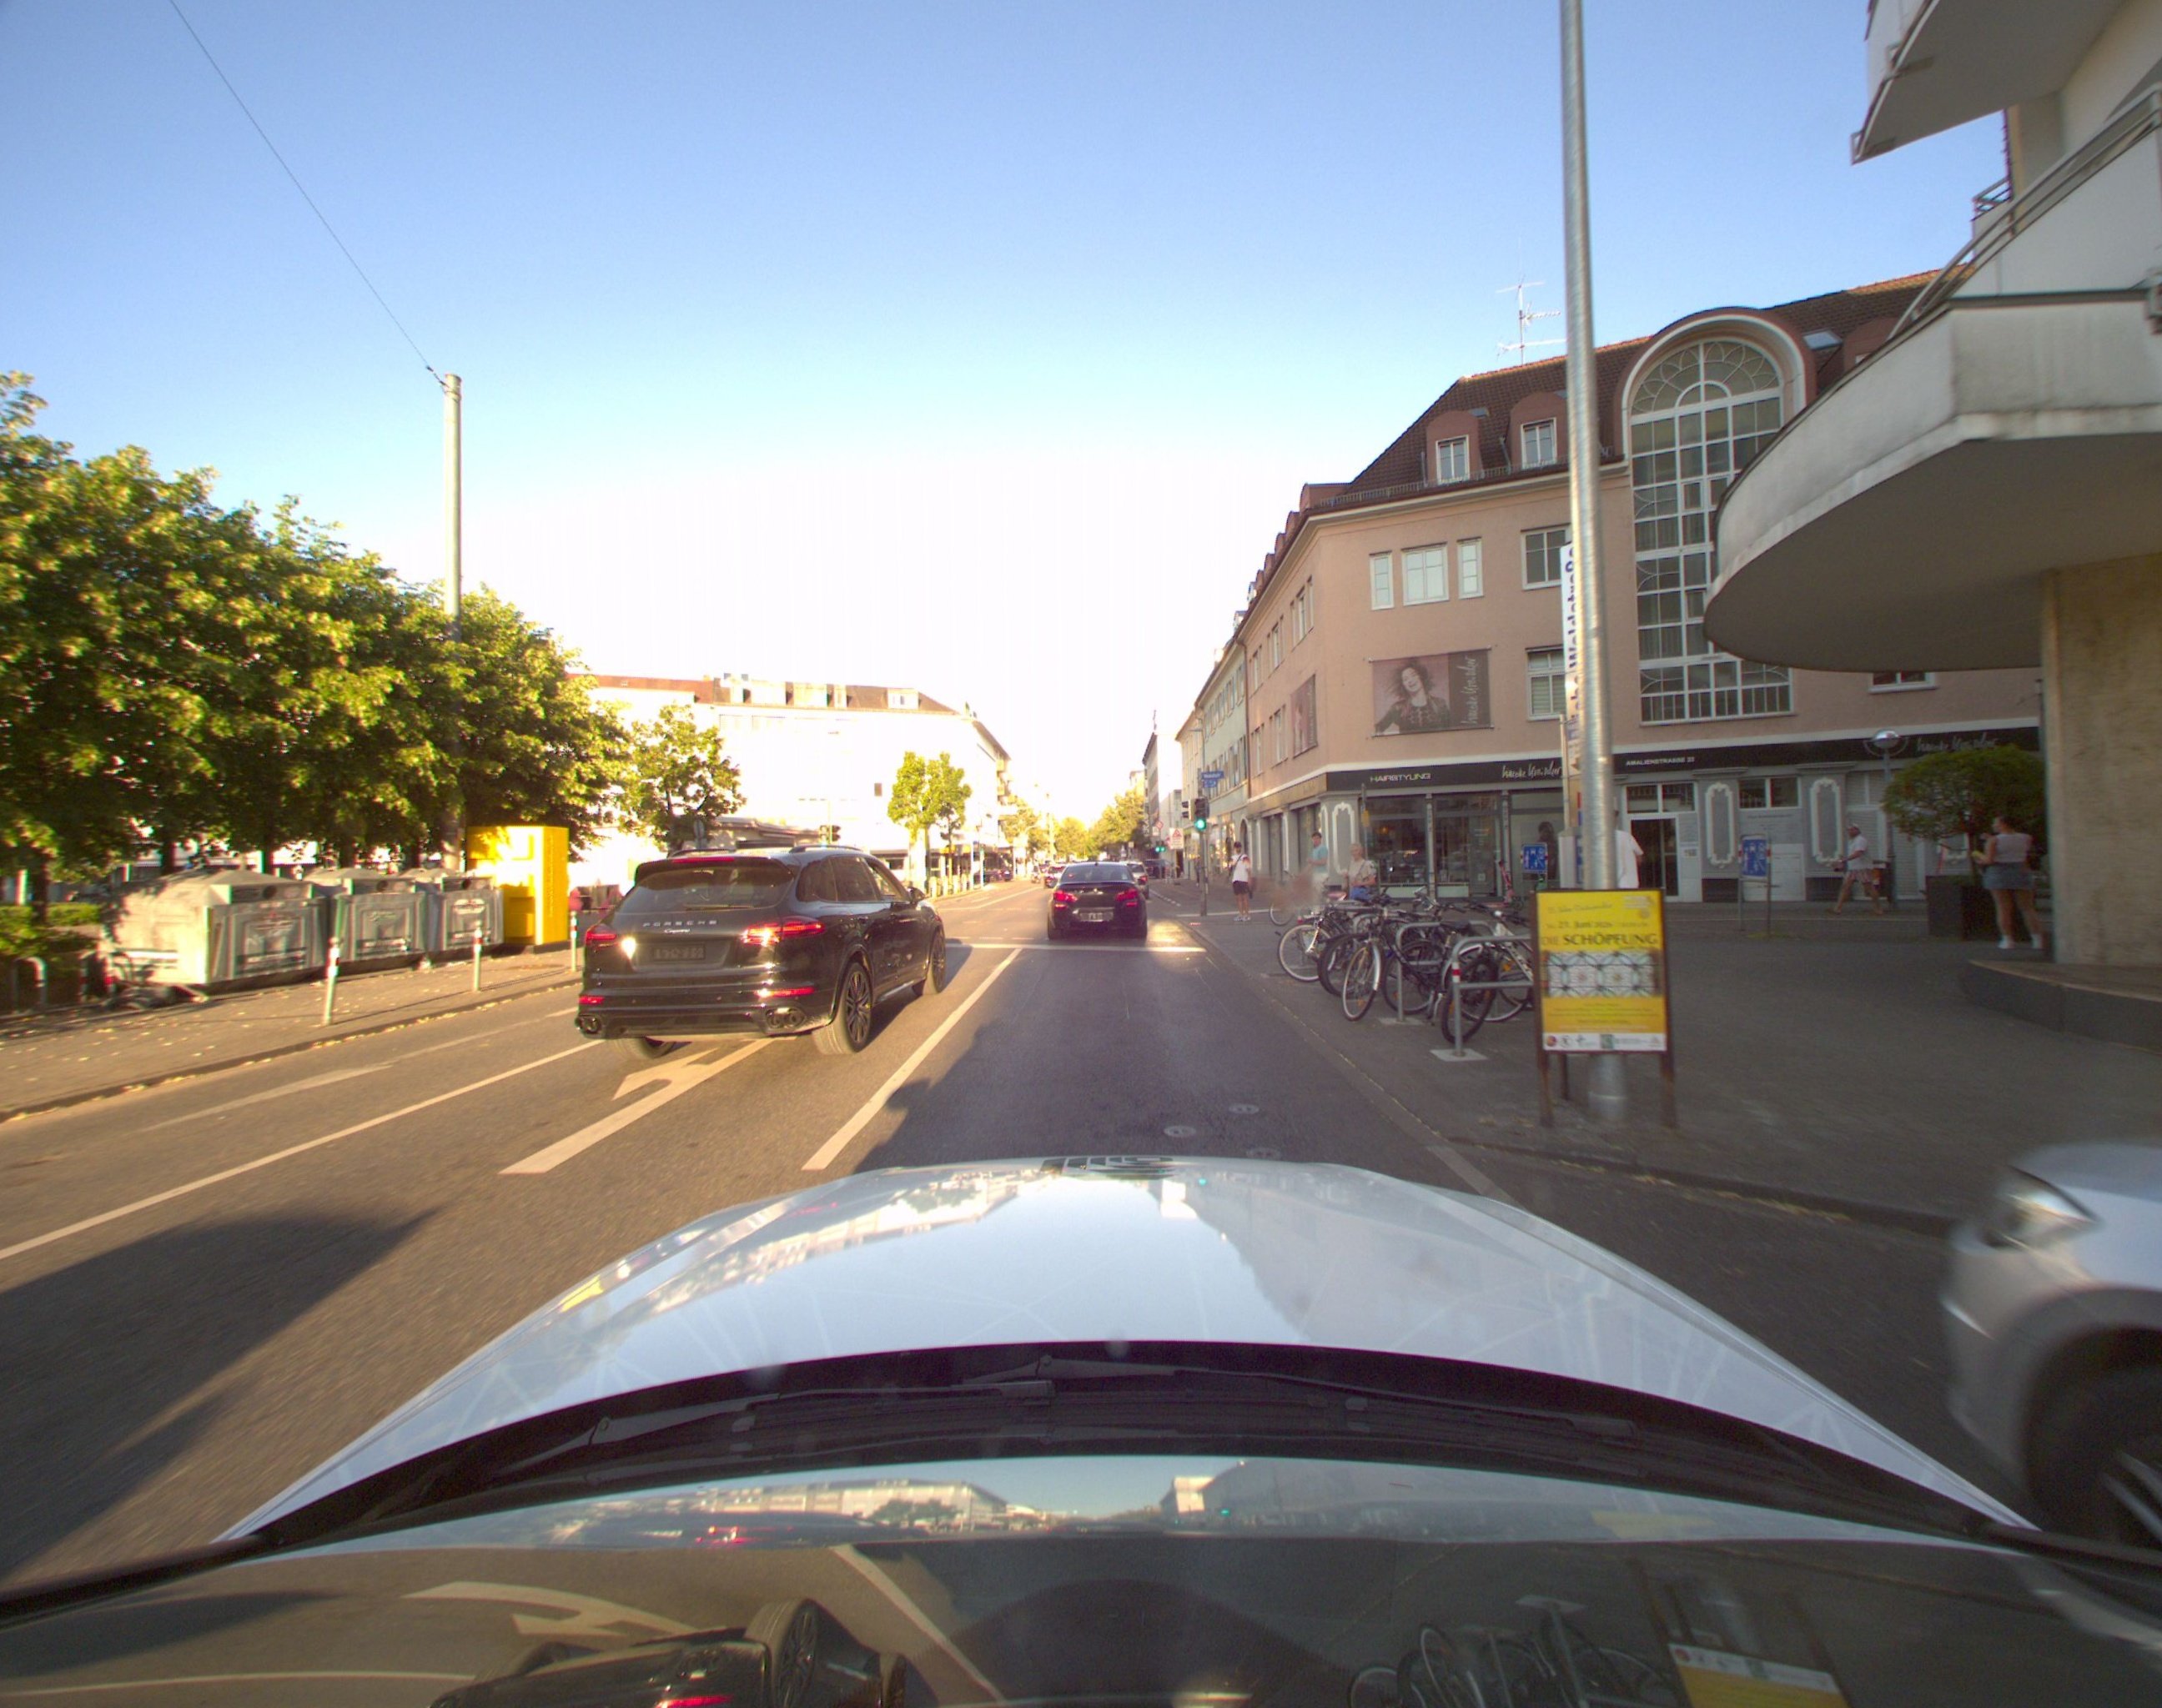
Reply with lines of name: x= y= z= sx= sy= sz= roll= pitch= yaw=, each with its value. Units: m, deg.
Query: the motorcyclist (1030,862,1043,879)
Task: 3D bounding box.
motorcyclist: x=-3.386 y=1.256 z=61.916 sx=0.766 sy=1.320 sz=0.990 roll=-1 pitch=-1 yaw=-12

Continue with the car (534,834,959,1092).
car: x=-2.655 y=0.764 z=7.876 sx=1.940 sy=1.714 sz=4.566 roll=-2 pitch=0 yaw=3

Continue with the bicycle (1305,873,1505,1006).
bicycle: x=3.274 y=0.833 z=8.282 sx=1.782 sy=1.173 sz=0.620 roll=-3 pitch=0 yaw=-10

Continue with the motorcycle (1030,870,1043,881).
motorcycle: x=-3.383 y=1.652 z=61.702 sx=0.662 sy=0.780 sz=2.023 roll=-1 pitch=-1 yaw=-14

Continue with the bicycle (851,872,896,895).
bicycle: x=-12.159 y=1.720 z=47.764 sx=2.433 sy=1.256 sz=0.788 roll=-2 pitch=-1 yaw=2

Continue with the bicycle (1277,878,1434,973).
bicycle: x=3.549 y=0.898 z=10.586 sx=1.782 sy=1.063 sz=0.716 roll=-3 pitch=0 yaw=-10

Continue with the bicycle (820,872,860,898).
bicycle: x=-12.385 y=1.608 z=41.922 sx=1.846 sy=1.256 sz=0.633 roll=-2 pitch=-1 yaw=2

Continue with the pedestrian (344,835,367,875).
pedestrian: x=-37.718 y=0.060 z=42.347 sx=0.662 sy=2.014 sz=0.805 roll=0 pitch=-1 yaw=-24

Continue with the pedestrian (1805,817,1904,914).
pedestrian: x=14.934 y=0.218 z=15.737 sx=1.095 sy=1.775 sz=0.824 roll=-2 pitch=-1 yaw=-6

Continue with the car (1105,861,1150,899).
car: x=2.061 y=1.103 z=36.243 sx=1.825 sy=1.576 sz=4.103 roll=-1 pitch=0 yaw=3

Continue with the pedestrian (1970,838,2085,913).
pedestrian: x=18.704 y=0.391 z=16.129 sx=0.885 sy=1.412 sz=1.230 roll=-1 pitch=1 yaw=3

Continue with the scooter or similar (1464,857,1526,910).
scooter or similar: x=9.699 y=0.687 z=19.106 sx=1.242 sy=1.214 sz=0.470 roll=-2 pitch=-1 yaw=24

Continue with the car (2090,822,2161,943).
car: x=16.111 y=0.320 z=10.203 sx=3.941 sy=1.592 sz=1.845 roll=-2 pitch=-1 yaw=21

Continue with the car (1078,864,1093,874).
car: x=0.625 y=2.029 z=111.370 sx=1.731 sy=1.293 sz=3.994 roll=-1 pitch=-1 yaw=-4

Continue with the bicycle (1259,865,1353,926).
bicycle: x=4.650 y=0.852 z=16.947 sx=1.808 sy=1.186 sz=0.796 roll=-2 pitch=-1 yaw=10

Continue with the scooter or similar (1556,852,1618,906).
scooter or similar: x=11.972 y=0.599 z=19.308 sx=1.189 sy=1.260 sz=0.366 roll=-2 pitch=-1 yaw=27

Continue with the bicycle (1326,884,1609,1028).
bicycle: x=3.421 y=0.869 z=7.318 sx=2.166 sy=1.075 sz=0.804 roll=-3 pitch=0 yaw=-6

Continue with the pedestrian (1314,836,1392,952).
pedestrian: x=4.064 y=0.571 z=12.164 sx=0.782 sy=1.653 sz=0.785 roll=-3 pitch=-1 yaw=45

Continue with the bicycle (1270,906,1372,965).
bicycle: x=3.299 y=1.110 z=11.278 sx=1.004 sy=0.681 sz=1.047 roll=-2 pitch=0 yaw=-8

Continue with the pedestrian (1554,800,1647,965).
pedestrian: x=6.090 y=0.325 z=9.593 sx=0.815 sy=1.817 sz=0.877 roll=-2 pitch=-1 yaw=29

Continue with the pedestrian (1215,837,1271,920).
pedestrian: x=3.791 y=0.565 z=19.145 sx=0.942 sy=1.897 sz=0.819 roll=-1 pitch=-1 yaw=-24

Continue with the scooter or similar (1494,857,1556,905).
scooter or similar: x=10.908 y=0.671 z=20.022 sx=1.289 sy=1.143 sz=0.366 roll=-2 pitch=-1 yaw=29

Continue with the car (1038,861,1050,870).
car: x=-5.749 y=1.778 z=126.211 sx=1.731 sy=1.461 sz=3.994 roll=-1 pitch=0 yaw=-4

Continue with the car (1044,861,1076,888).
car: x=-1.279 y=1.235 z=50.531 sx=1.867 sy=1.595 sz=4.448 roll=-1 pitch=0 yaw=0

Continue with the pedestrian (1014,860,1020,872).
pedestrian: x=-8.935 y=1.734 z=113.909 sx=0.820 sy=1.676 sz=0.871 roll=-1 pitch=-1 yaw=0

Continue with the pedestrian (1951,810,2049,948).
pedestrian: x=11.692 y=0.306 z=10.367 sx=0.736 sy=1.669 sz=0.747 roll=0 pitch=-1 yaw=-38

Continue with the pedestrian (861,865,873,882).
pedestrian: x=-20.282 y=1.836 z=77.055 sx=0.950 sy=1.537 sz=0.901 roll=-1 pitch=-1 yaw=-24

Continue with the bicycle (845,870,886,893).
bicycle: x=-12.300 y=1.557 z=46.465 sx=1.997 sy=1.256 sz=0.950 roll=-2 pitch=-1 yaw=3

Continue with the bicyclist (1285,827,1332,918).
bicyclist: x=4.719 y=0.385 z=16.943 sx=0.828 sy=1.826 sz=0.833 roll=-2 pitch=-1 yaw=9

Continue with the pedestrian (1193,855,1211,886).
pedestrian: x=6.681 y=0.907 z=44.930 sx=0.821 sy=1.642 sz=0.871 roll=-2 pitch=-1 yaw=0

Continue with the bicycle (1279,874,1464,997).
bicycle: x=3.163 y=0.854 z=8.908 sx=1.782 sy=1.173 sz=0.620 roll=-3 pitch=0 yaw=-10

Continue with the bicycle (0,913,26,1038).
bicycle: x=-11.776 y=1.242 z=8.247 sx=1.581 sy=1.252 sz=0.445 roll=0 pitch=-1 yaw=0

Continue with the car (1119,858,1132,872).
car: x=5.850 y=1.458 z=107.702 sx=1.417 sy=1.855 sz=3.050 roll=0 pitch=-1 yaw=-2

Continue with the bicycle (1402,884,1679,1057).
bicycle: x=3.491 y=0.842 z=6.235 sx=1.844 sy=1.123 sz=0.593 roll=-3 pitch=-2 yaw=-10

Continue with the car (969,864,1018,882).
car: x=-7.350 y=1.585 z=68.268 sx=3.949 sy=1.486 sz=2.012 roll=-2 pitch=-1 yaw=42

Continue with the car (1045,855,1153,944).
car: x=0.336 y=0.821 z=16.768 sx=1.897 sy=1.540 sz=4.449 roll=-1 pitch=0 yaw=0

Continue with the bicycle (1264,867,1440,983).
bicycle: x=3.187 y=0.814 z=9.656 sx=1.839 sy=1.239 sz=0.638 roll=-2 pitch=-1 yaw=-4

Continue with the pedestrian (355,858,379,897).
pedestrian: x=-36.743 y=1.198 z=41.915 sx=0.662 sy=2.014 sz=0.805 roll=0 pitch=-1 yaw=-22

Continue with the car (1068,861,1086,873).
car: x=-0.496 y=1.693 z=104.621 sx=1.990 sy=1.442 sz=3.994 roll=-1 pitch=-1 yaw=-4
